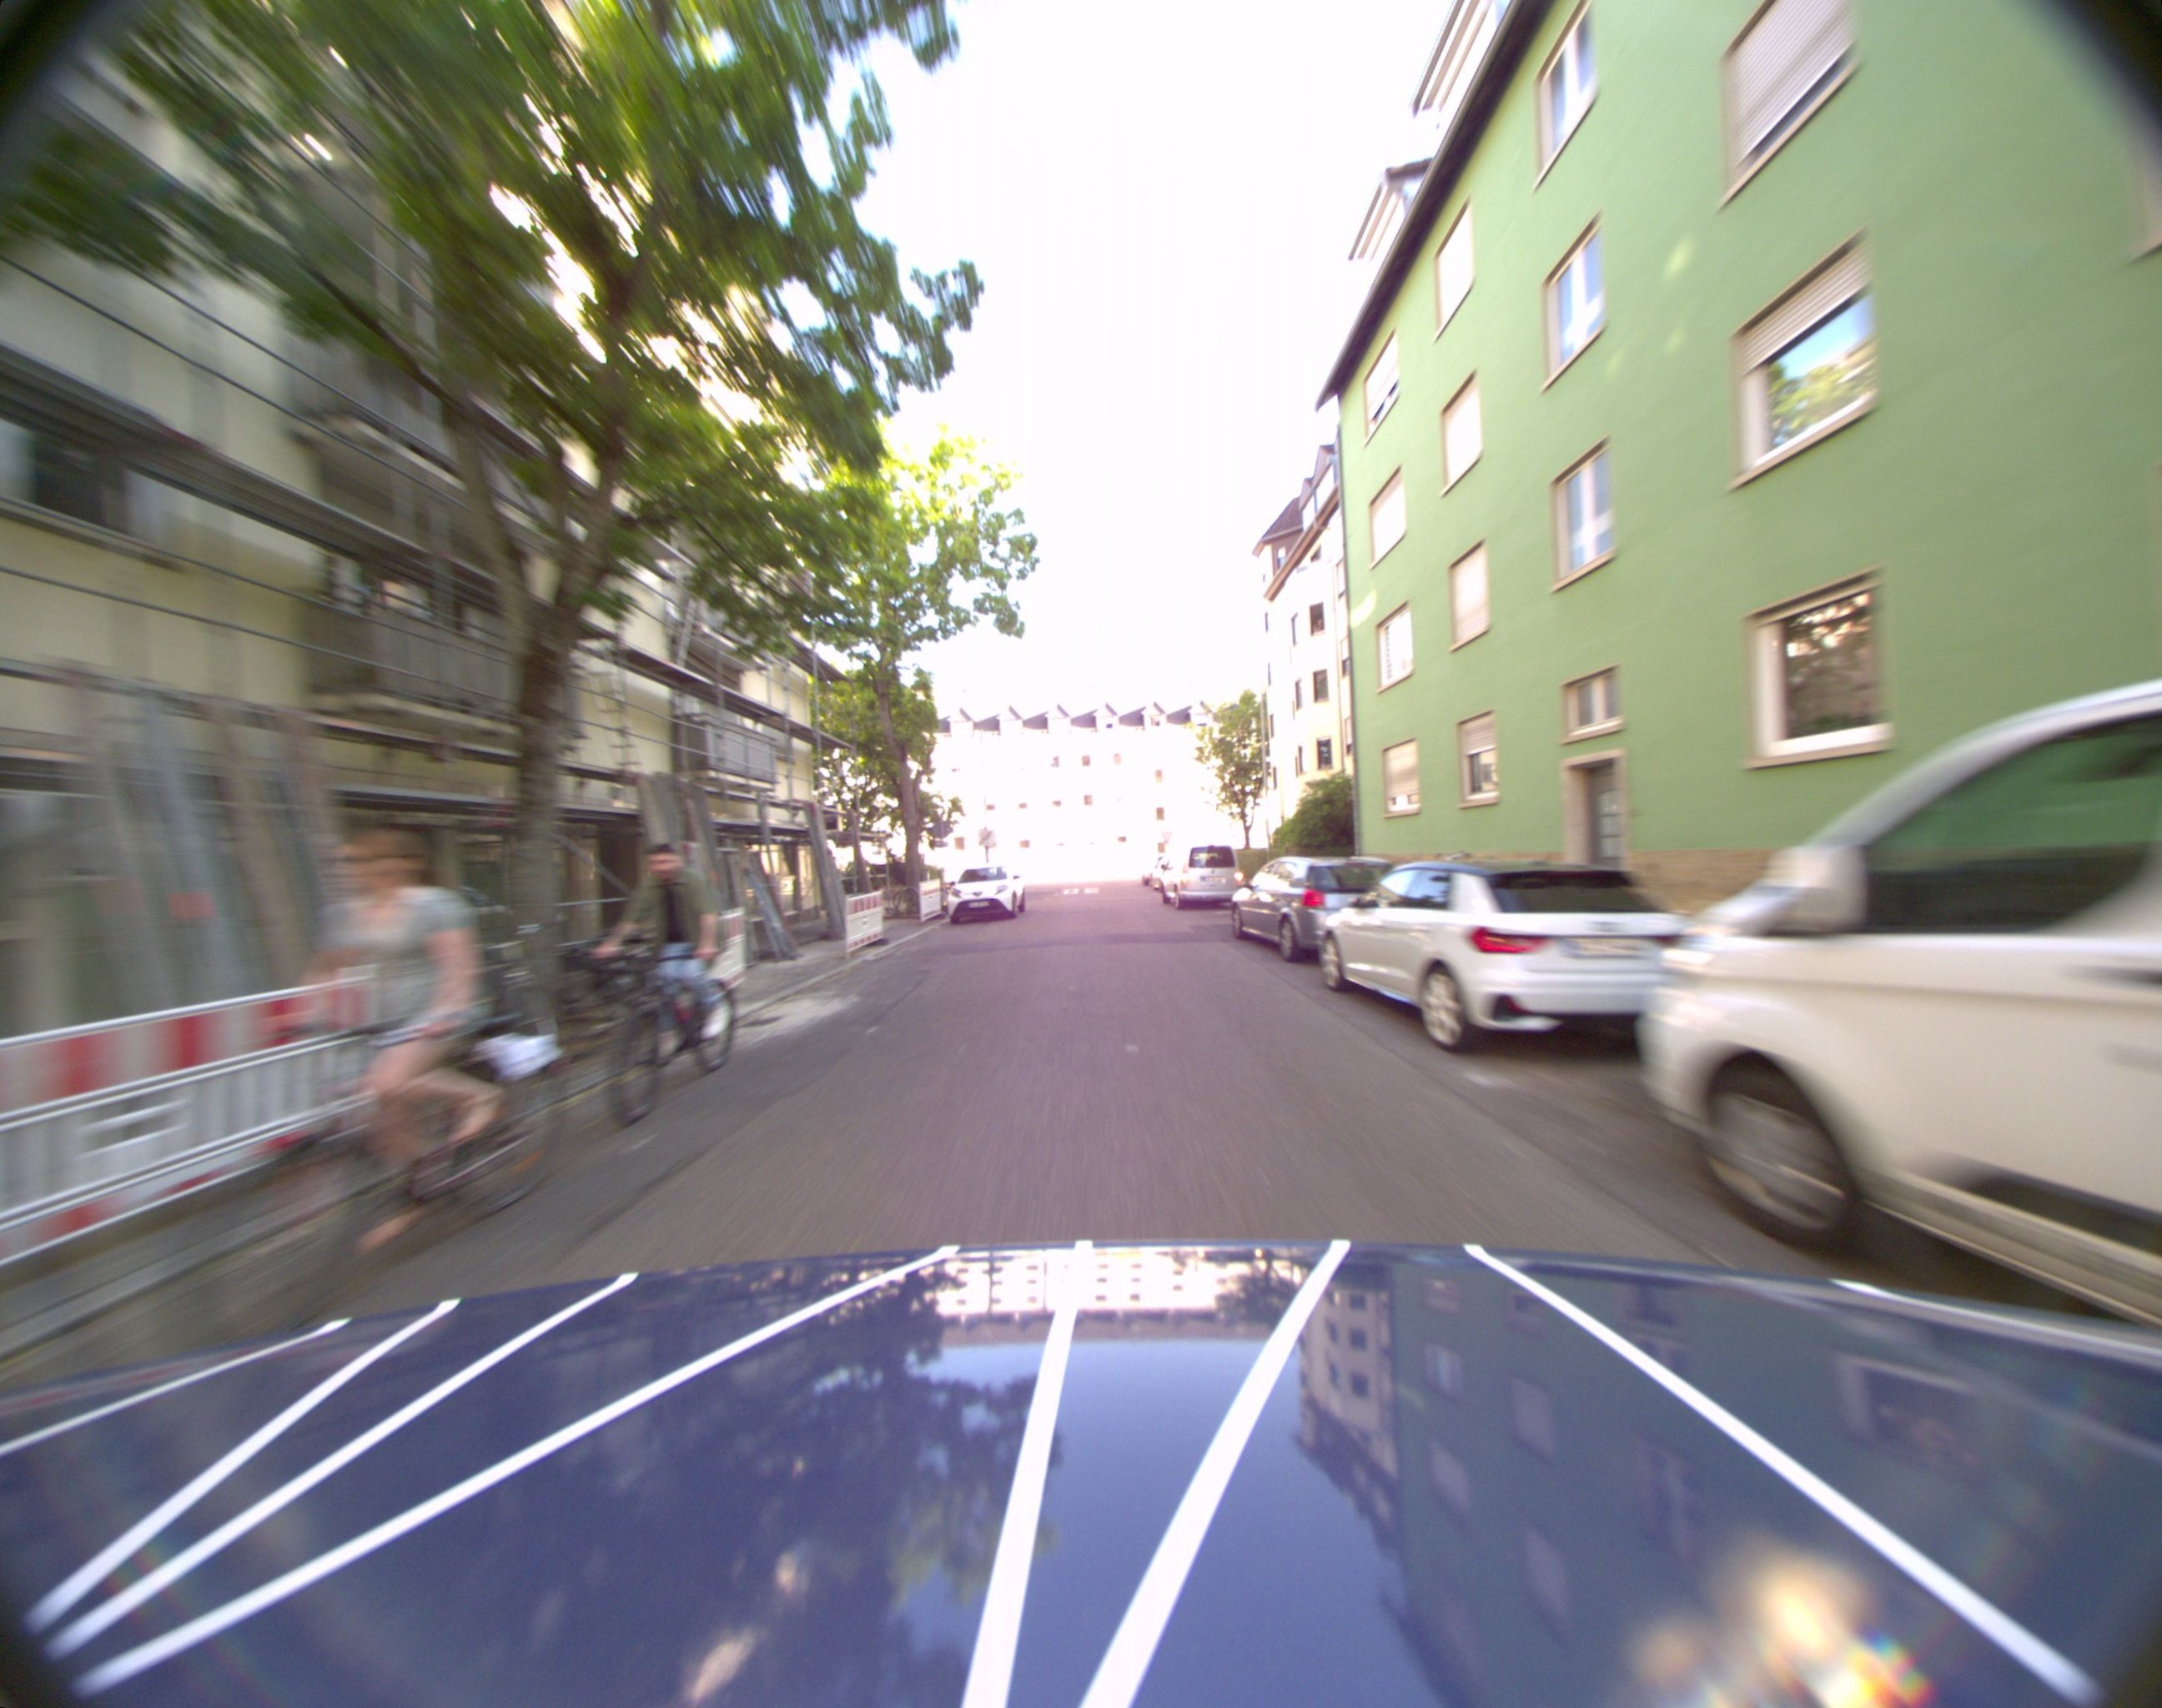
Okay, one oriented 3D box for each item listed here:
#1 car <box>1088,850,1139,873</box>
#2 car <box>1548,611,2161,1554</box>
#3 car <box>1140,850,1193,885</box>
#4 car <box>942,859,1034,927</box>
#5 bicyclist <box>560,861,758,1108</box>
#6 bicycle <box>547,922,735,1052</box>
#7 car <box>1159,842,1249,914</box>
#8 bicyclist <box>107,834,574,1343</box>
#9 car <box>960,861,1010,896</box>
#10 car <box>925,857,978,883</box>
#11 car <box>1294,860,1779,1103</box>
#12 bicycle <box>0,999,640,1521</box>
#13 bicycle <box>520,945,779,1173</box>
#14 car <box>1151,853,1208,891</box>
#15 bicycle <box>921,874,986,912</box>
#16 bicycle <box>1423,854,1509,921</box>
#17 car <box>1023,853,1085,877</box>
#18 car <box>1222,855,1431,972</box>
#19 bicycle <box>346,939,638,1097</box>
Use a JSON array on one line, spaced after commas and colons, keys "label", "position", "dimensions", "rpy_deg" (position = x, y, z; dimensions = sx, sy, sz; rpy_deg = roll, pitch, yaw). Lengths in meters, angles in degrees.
[{"label": "car", "position": [2.460, 0.555, 57.724], "dimensions": [3.613, 1.440, 1.553], "rpy_deg": [-3, 2, -7]}, {"label": "car", "position": [3.601, 0.516, 1.348], "dimensions": [2.257, 2.156, 5.242], "rpy_deg": [-1, 1, -1]}, {"label": "car", "position": [4.035, 0.594, 36.320], "dimensions": [1.724, 1.546, 4.072], "rpy_deg": [-1, 0, -5]}, {"label": "car", "position": [-2.474, 0.996, 21.160], "dimensions": [1.807, 1.526, 3.964], "rpy_deg": [-4, 0, 2]}, {"label": "bicyclist", "position": [-2.978, 0.859, 5.478], "dimensions": [0.757, 1.556, 0.981], "rpy_deg": [-5, 1, -1]}, {"label": "bicycle", "position": [-4.524, 1.296, 7.772], "dimensions": [1.924, 1.115, 0.749], "rpy_deg": [-4, 1, 31]}, {"label": "car", "position": [3.410, 0.587, 21.795], "dimensions": [1.776, 1.832, 4.415], "rpy_deg": [-1, 1, -1]}, {"label": "bicyclist", "position": [-2.833, 0.799, 3.062], "dimensions": [0.716, 1.679, 0.981], "rpy_deg": [-6, 1, 2]}, {"label": "car", "position": [-4.263, 1.070, 34.338], "dimensions": [1.665, 1.399, 4.507], "rpy_deg": [0, 0, 1]}, {"label": "car", "position": [-9.541, 1.188, 56.340], "dimensions": [3.706, 1.598, 1.648], "rpy_deg": [-4, 1, -7]}, {"label": "car", "position": [3.501, 0.827, 6.995], "dimensions": [1.837, 1.454, 4.362], "rpy_deg": [-1, 1, 0]}, {"label": "bicycle", "position": [-2.766, 1.329, 3.063], "dimensions": [0.707, 1.039, 1.858], "rpy_deg": [-6, 1, 3]}, {"label": "bicycle", "position": [-2.932, 1.331, 5.449], "dimensions": [0.741, 1.054, 1.857], "rpy_deg": [-5, 1, -1]}, {"label": "car", "position": [3.934, 0.669, 30.969], "dimensions": [1.770, 1.444, 4.207], "rpy_deg": [0, 0, 0]}, {"label": "bicycle", "position": [-4.040, 1.207, 24.020], "dimensions": [1.973, 1.148, 0.751], "rpy_deg": [0, 1, -13]}, {"label": "bicycle", "position": [7.050, 0.576, 14.026], "dimensions": [0.488, 1.069, 1.969], "rpy_deg": [-7, 1, 1]}, {"label": "car", "position": [-2.083, 0.807, 57.198], "dimensions": [4.493, 1.498, 1.944], "rpy_deg": [-3, 0, -5]}, {"label": "car", "position": [3.576, 0.766, 12.018], "dimensions": [1.724, 1.454, 4.505], "rpy_deg": [-1, 1, -2]}, {"label": "bicycle", "position": [-4.870, 1.348, 6.328], "dimensions": [1.980, 1.115, 0.748], "rpy_deg": [-4, 1, 11]}]
